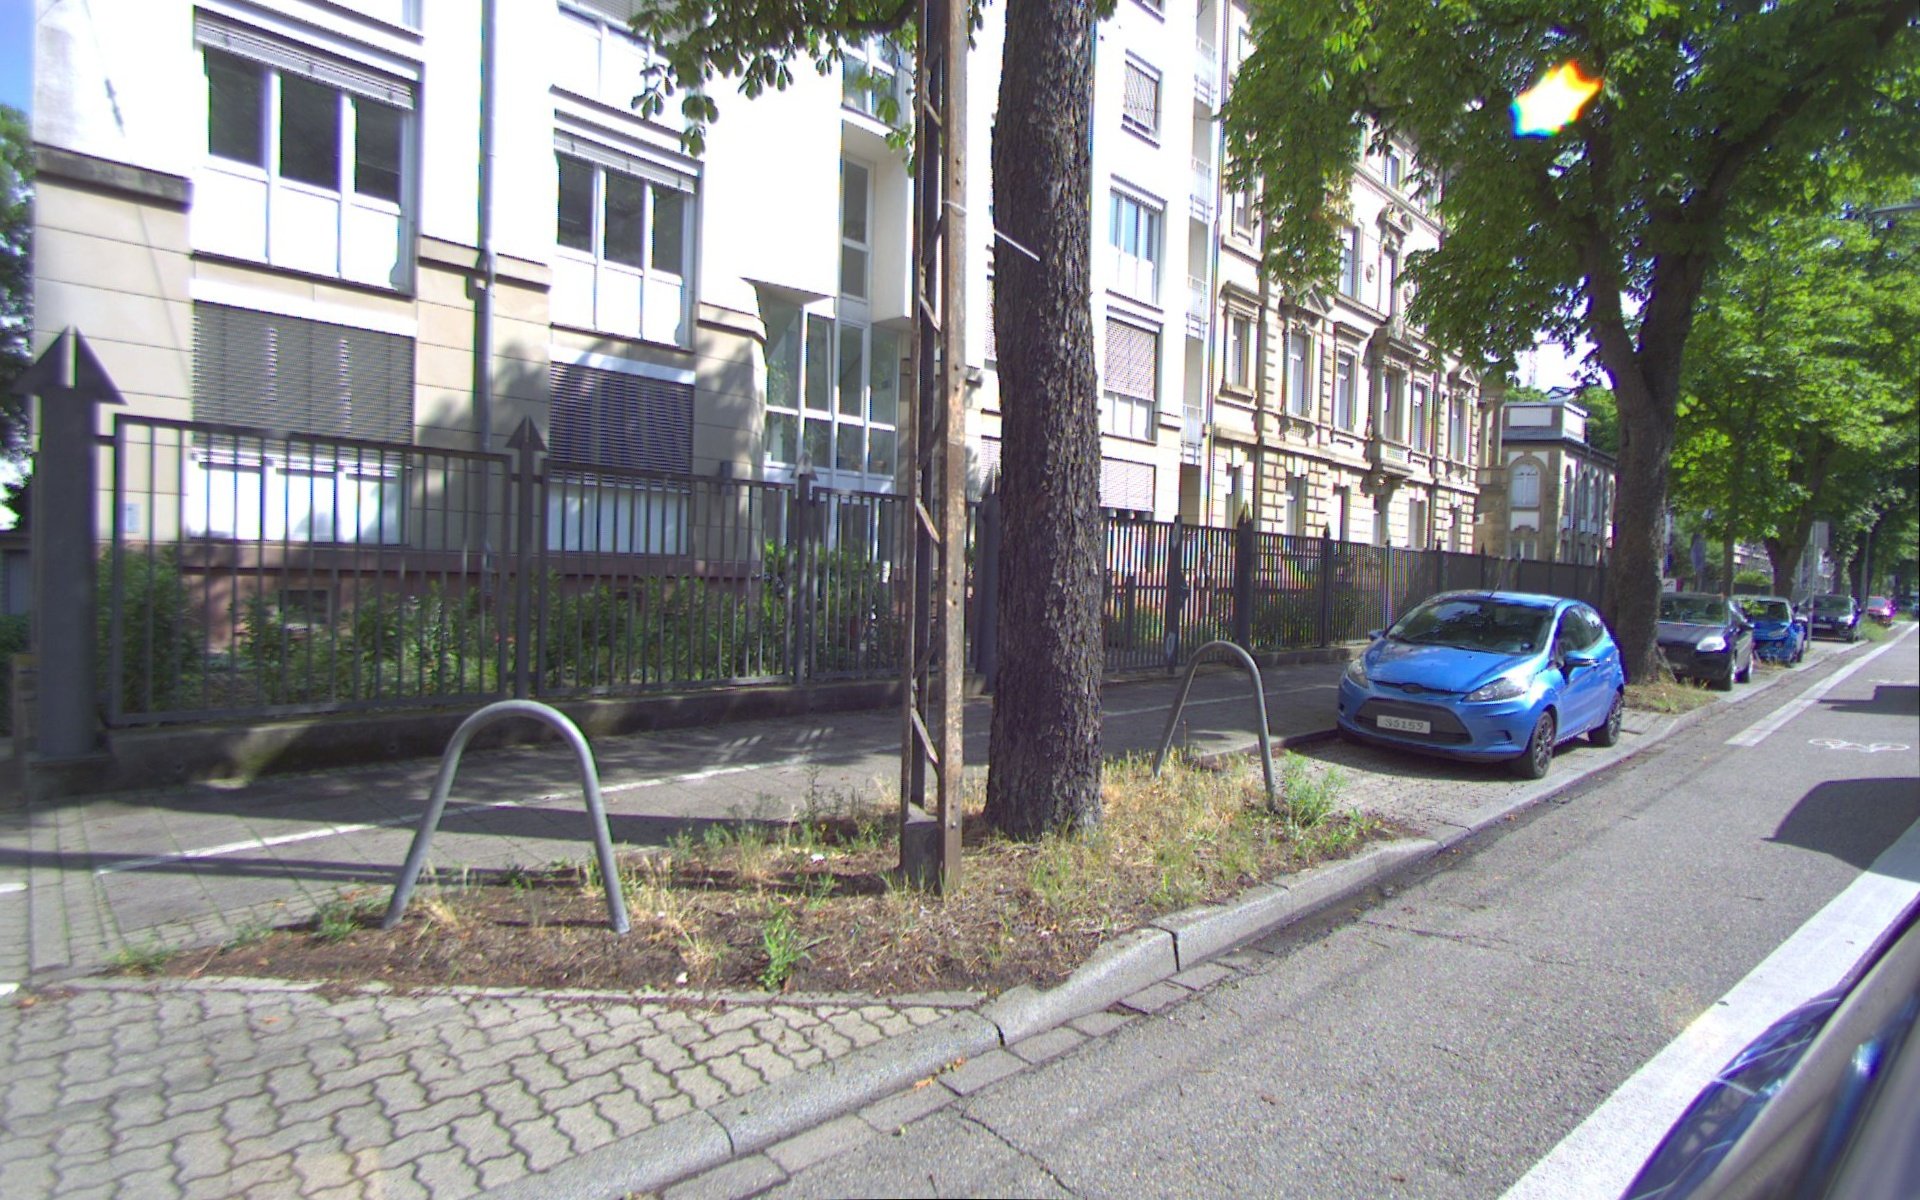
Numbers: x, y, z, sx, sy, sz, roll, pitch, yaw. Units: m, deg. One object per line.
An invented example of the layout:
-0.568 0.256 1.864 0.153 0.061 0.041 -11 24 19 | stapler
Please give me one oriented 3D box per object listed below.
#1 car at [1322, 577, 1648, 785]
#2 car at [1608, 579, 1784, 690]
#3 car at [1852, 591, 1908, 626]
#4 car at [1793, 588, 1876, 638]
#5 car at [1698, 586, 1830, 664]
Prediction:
5.028 0.589 9.488 1.639 1.472 3.639 6 4 45 | car
12.182 0.497 16.677 3.562 1.526 1.643 0 4 -43 | car
46.821 0.397 51.490 4.130 1.591 1.772 0 4 -44 | car
30.834 0.422 35.659 4.130 1.549 1.772 0 4 -44 | car
17.809 0.486 22.362 3.861 1.469 1.722 0 4 -44 | car
